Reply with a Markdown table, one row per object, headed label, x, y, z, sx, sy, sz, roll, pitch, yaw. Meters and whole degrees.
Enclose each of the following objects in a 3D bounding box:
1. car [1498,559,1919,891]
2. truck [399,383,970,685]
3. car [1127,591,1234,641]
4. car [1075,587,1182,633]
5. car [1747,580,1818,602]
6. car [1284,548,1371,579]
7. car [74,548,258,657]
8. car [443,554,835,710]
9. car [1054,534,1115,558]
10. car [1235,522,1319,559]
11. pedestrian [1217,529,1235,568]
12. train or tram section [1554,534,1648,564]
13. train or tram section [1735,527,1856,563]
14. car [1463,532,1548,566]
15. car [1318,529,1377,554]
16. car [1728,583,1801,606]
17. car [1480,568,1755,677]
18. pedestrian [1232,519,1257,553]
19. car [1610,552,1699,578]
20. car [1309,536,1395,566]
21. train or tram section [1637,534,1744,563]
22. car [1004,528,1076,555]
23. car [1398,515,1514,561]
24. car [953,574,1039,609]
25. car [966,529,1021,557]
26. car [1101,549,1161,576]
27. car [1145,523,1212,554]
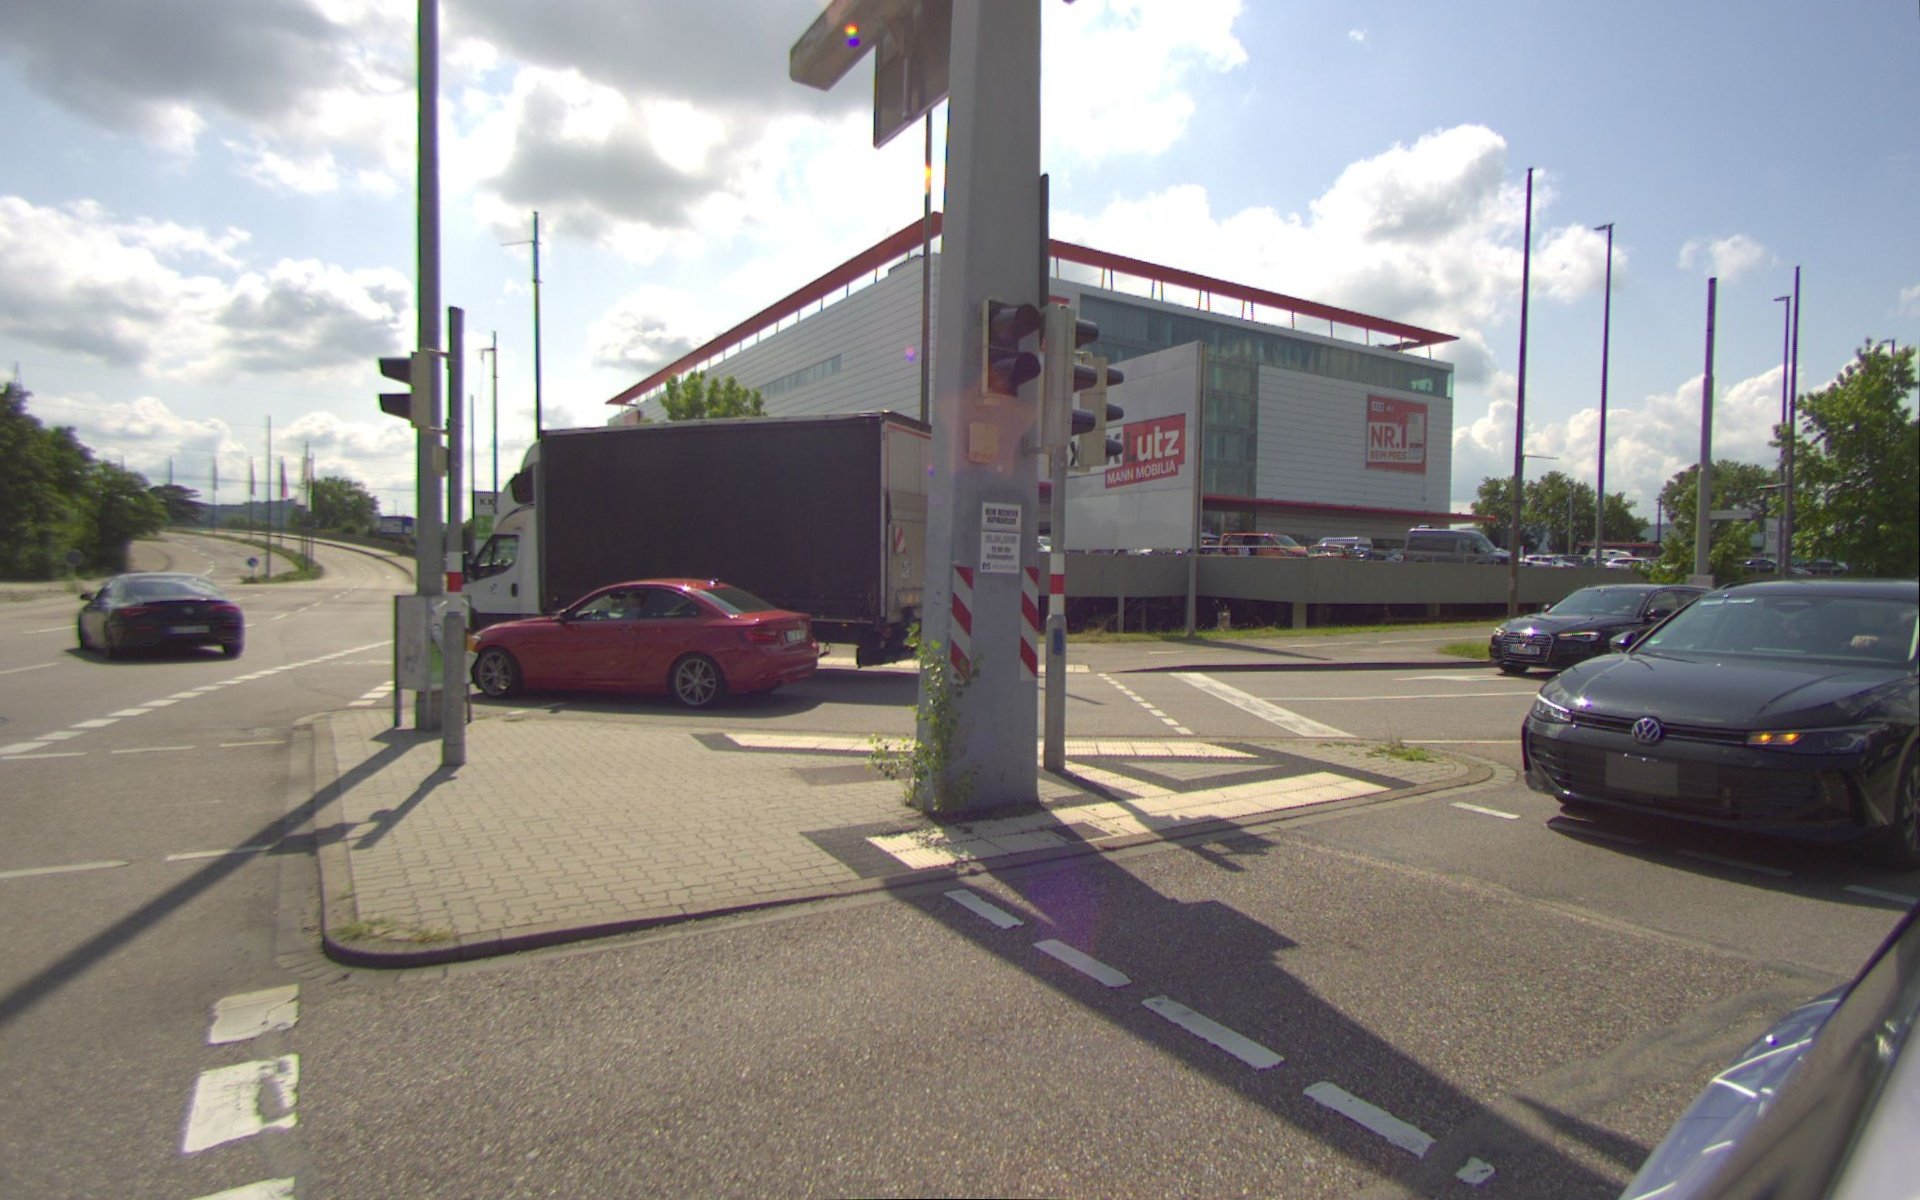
| label | x | y | z | sx | sy | sz | roll | pitch | yaw |
| --- | --- | --- | --- | --- | --- | --- | --- | --- | --- |
| car | 5.924 | 0.488 | 6.671 | 5.101 | 1.496 | 1.816 | -2 | 2 | -31 |
| truck | -4.594 | -0.888 | 16.803 | 8.959 | 4.077 | 3.202 | -1 | 1 | 21 |
| car | 8.707 | 0.595 | 39.895 | 3.923 | 1.771 | 2.001 | -2 | 2 | -34 |
| car | 7.142 | 0.377 | 42.810 | 4.280 | 1.771 | 2.001 | -2 | 2 | -34 |
| car | 69.160 | -0.795 | 85.168 | 1.530 | 1.786 | 4.425 | -2 | 2 | -33 |
| car | 20.552 | -2.029 | 56.764 | 1.916 | 1.625 | 4.428 | -2 | 2 | -31 |
| car | -13.927 | 0.011 | 17.669 | 4.202 | 1.676 | 1.837 | 1 | 0 | 42 |
| car | -3.818 | 0.352 | 12.288 | 4.156 | 1.676 | 1.858 | -1 | 2 | 14 |
| car | 8.184 | -3.553 | 66.914 | 1.530 | 1.489 | 4.426 | -2 | 2 | -33 |
| car | 16.754 | -3.116 | 53.673 | 1.877 | 1.771 | 4.196 | -2 | 2 | -25 |
| pedestrian | 14.248 | -2.758 | 54.261 | 0.898 | 2.038 | 0.703 | -1 | 1 | 15 |
| train or tram section | 107.644 | -8.538 | 170.242 | 3.660 | 4.617 | 13.115 | -2 | 2 | -32 |
| train or tram section | 121.805 | -7.932 | 147.857 | 3.660 | 4.730 | 13.115 | -2 | 2 | -32 |
| car | 31.400 | -2.900 | 58.320 | 1.714 | 1.816 | 4.005 | -2 | 2 | -29 |
| car | 30.385 | -4.585 | 79.460 | 1.879 | 1.771 | 4.004 | -2 | 2 | -31 |
| car | 65.955 | -0.486 | 83.071 | 1.530 | 1.786 | 4.425 | -2 | 2 | -33 |
| car | 10.591 | 0.265 | 16.237 | 4.585 | 1.496 | 1.782 | -2 | 2 | -29 |
| pedestrian | 15.093 | -3.380 | 53.730 | 0.695 | 1.764 | 1.018 | -2 | 1 | -43 |
| car | 45.521 | -2.270 | 66.407 | 1.916 | 1.625 | 4.428 | -2 | 2 | -31 |
| car | 22.574 | -2.819 | 58.461 | 1.916 | 1.625 | 4.429 | -1 | 2 | -29 |
| train or tram section | 114.617 | -8.159 | 159.076 | 3.660 | 4.423 | 13.120 | -2 | 4 | -32 |
| car | 4.637 | -3.397 | 59.294 | 1.917 | 1.489 | 4.426 | -2 | 2 | -33 |
| car | 27.812 | -3.446 | 56.980 | 1.716 | 2.311 | 5.801 | -2 | 2 | -33 |
| car | 1.959 | -0.480 | 54.692 | 4.280 | 1.771 | 2.001 | -2 | 2 | -34 |
| car | 2.299 | -3.933 | 70.738 | 1.530 | 1.846 | 4.426 | -2 | 2 | -33 |
| car | 11.886 | -2.602 | 70.438 | 1.530 | 1.846 | 4.426 | -2 | 2 | -33 |
| car | 13.720 | -3.825 | 63.674 | 1.879 | 1.771 | 4.004 | -2 | 2 | -31 |
